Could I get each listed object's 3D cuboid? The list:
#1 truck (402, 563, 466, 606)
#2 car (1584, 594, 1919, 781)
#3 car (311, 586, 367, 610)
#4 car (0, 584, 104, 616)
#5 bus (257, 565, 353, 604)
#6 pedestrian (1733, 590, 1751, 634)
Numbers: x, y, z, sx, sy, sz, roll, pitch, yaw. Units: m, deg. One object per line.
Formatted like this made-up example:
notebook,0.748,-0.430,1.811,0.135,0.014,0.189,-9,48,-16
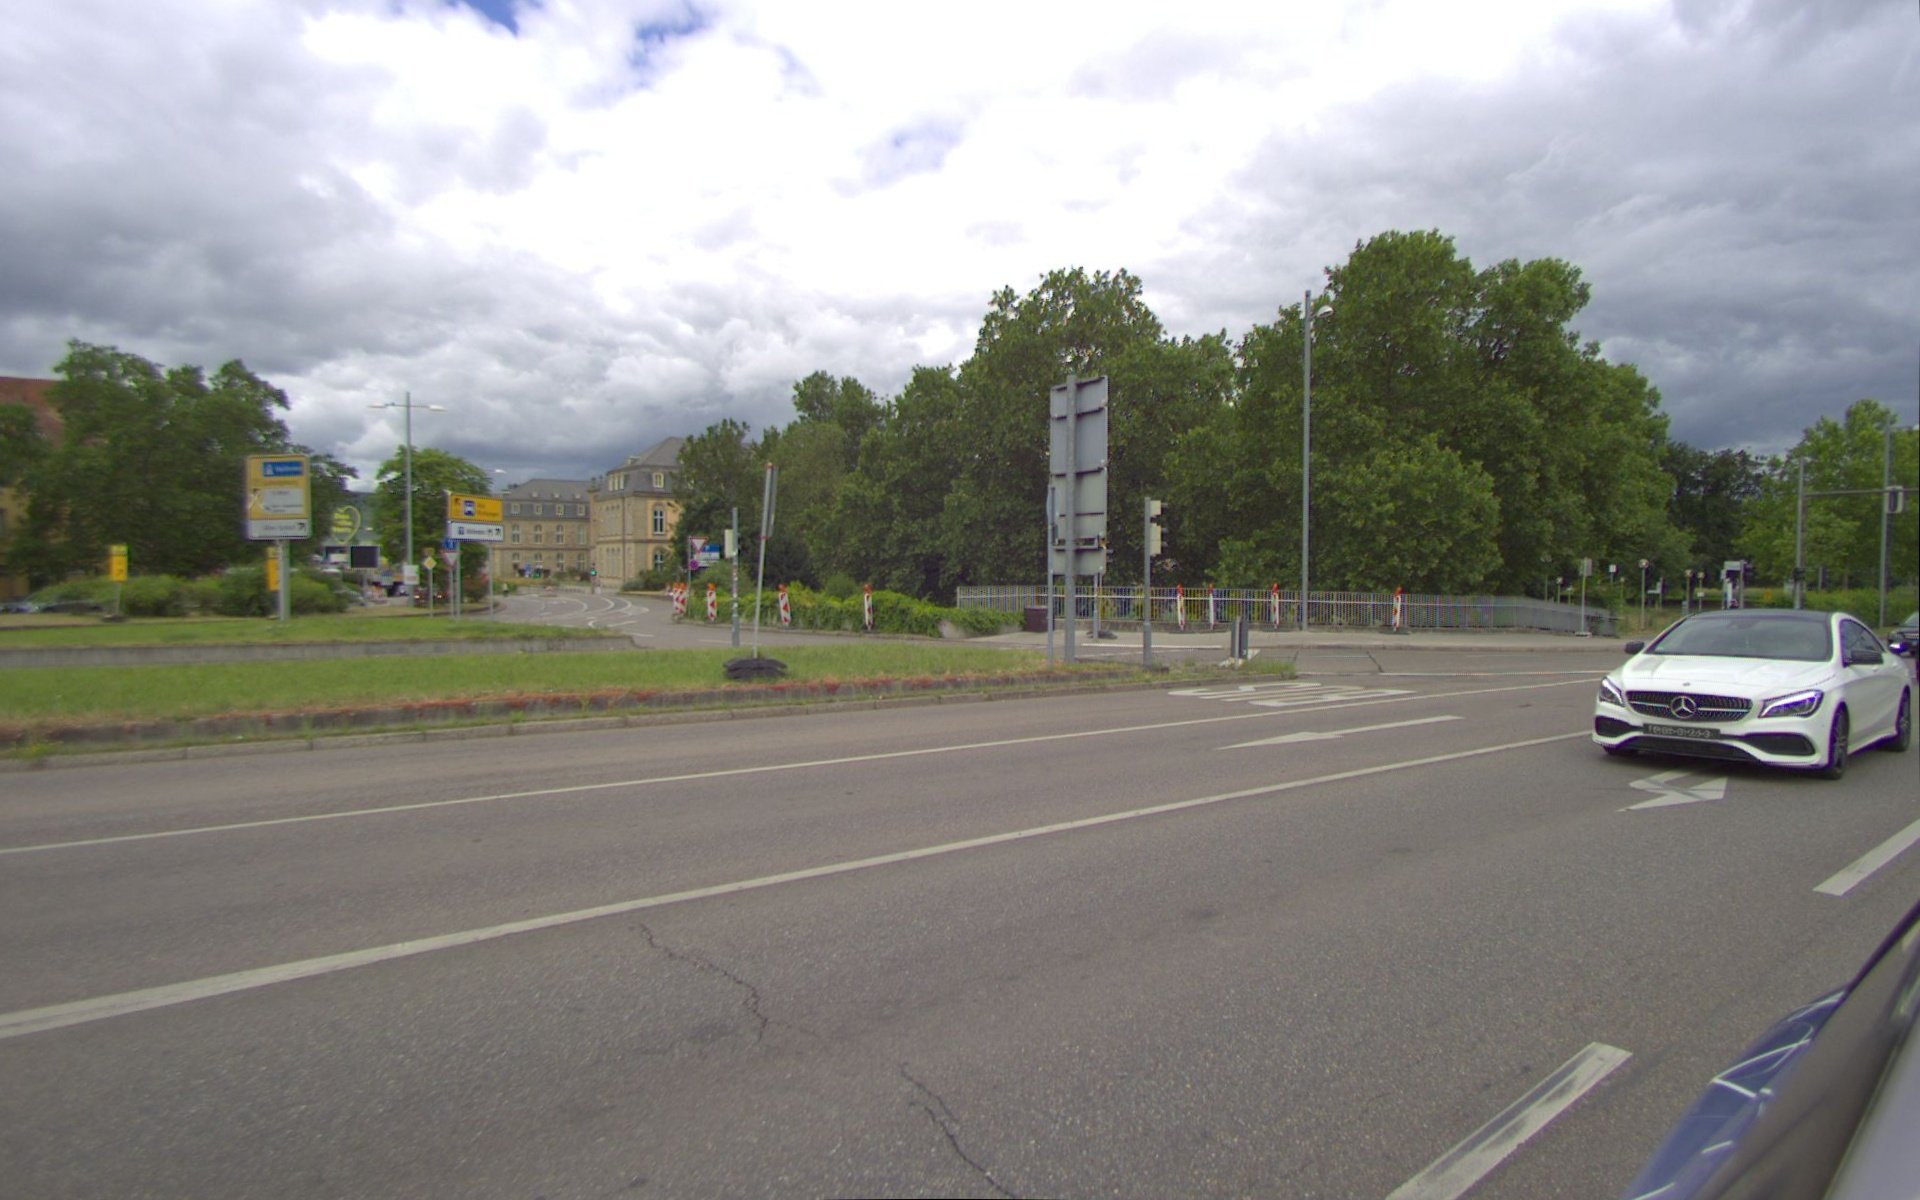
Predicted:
truck,-44.465,-1.305,85.809,2.754,3.412,7.649,0,1,-11
car,8.057,0.672,9.943,4.421,1.441,1.724,0,1,-36
car,-39.225,-0.159,64.019,1.779,1.431,4.098,0,1,-12
car,-43.615,-0.037,48.462,1.626,1.438,4.557,0,1,-4
bus,-50.942,-1.200,79.025,2.518,2.887,9.685,0,1,-9
pedestrian,32.260,0.495,41.747,0.609,1.786,0.479,0,0,-39
